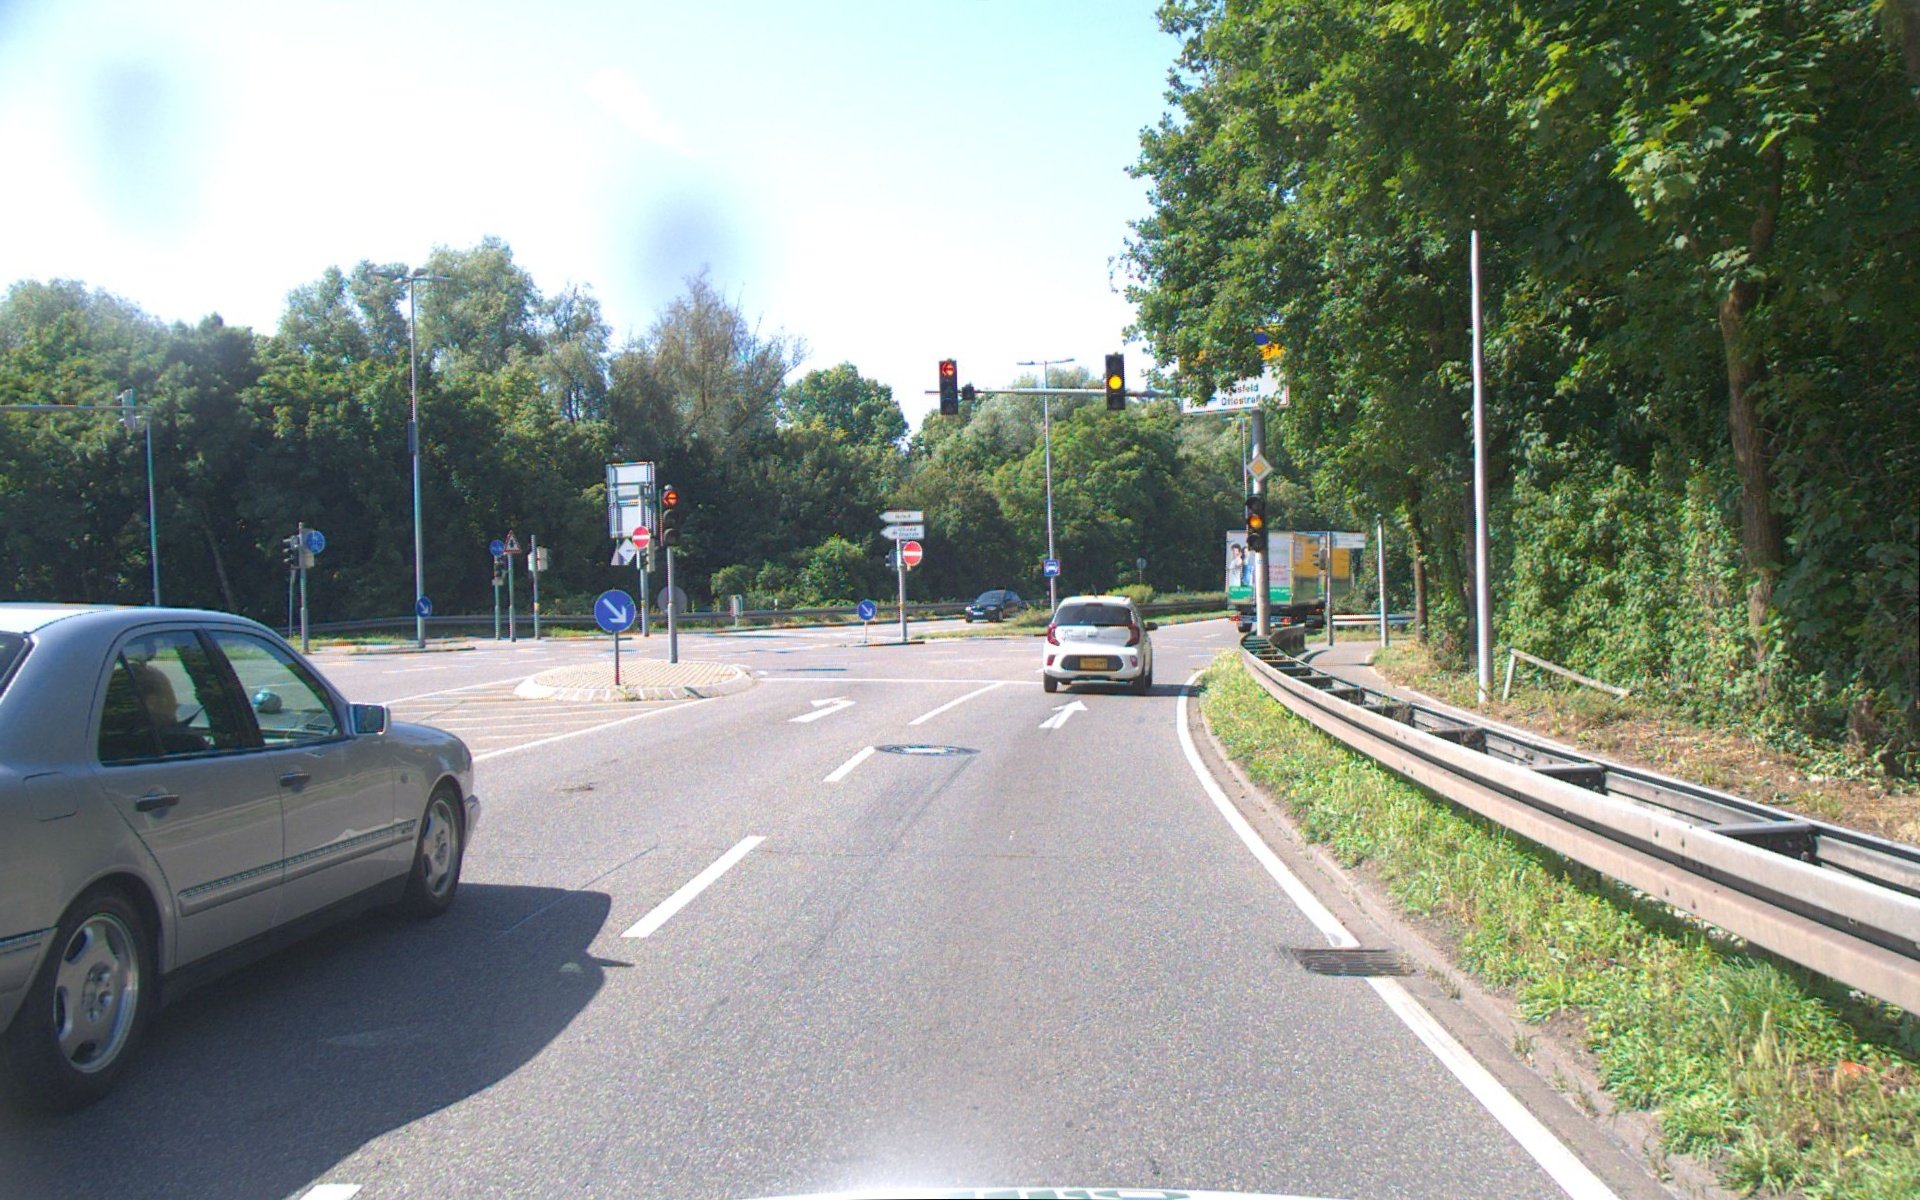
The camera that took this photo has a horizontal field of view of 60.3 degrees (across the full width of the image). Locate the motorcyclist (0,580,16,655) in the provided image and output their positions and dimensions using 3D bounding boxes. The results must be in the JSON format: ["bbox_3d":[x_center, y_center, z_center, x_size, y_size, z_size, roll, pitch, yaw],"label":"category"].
[{"bbox_3d":[-25.188,0.492,42.459,1.429,1.903,0.892,-4,-2,22],"label":"motorcyclist"}]

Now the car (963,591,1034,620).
[{"bbox_3d":[1.829,0.249,78.143,1.954,1.339,3.998,-1,0,24],"label":"car"}]

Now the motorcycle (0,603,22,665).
[{"bbox_3d":[-25.193,0.911,42.446,1.936,1.556,0.899,-3,-2,22],"label":"motorcycle"}]

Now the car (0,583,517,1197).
[{"bbox_3d":[-3.263,0.700,5.912,1.899,1.512,4.901,0,1,2],"label":"car"}]

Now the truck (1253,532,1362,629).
[{"bbox_3d":[14.994,-0.812,70.856,3.193,3.824,8.370,2,1,21],"label":"truck"}]

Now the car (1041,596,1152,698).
[{"bbox_3d":[2.197,0.711,27.134,1.666,1.520,4.002,1,0,4],"label":"car"}]

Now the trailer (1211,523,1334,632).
[{"bbox_3d":[12.083,-0.828,63.366,3.158,3.824,7.824,2,1,21],"label":"trailer"}]
